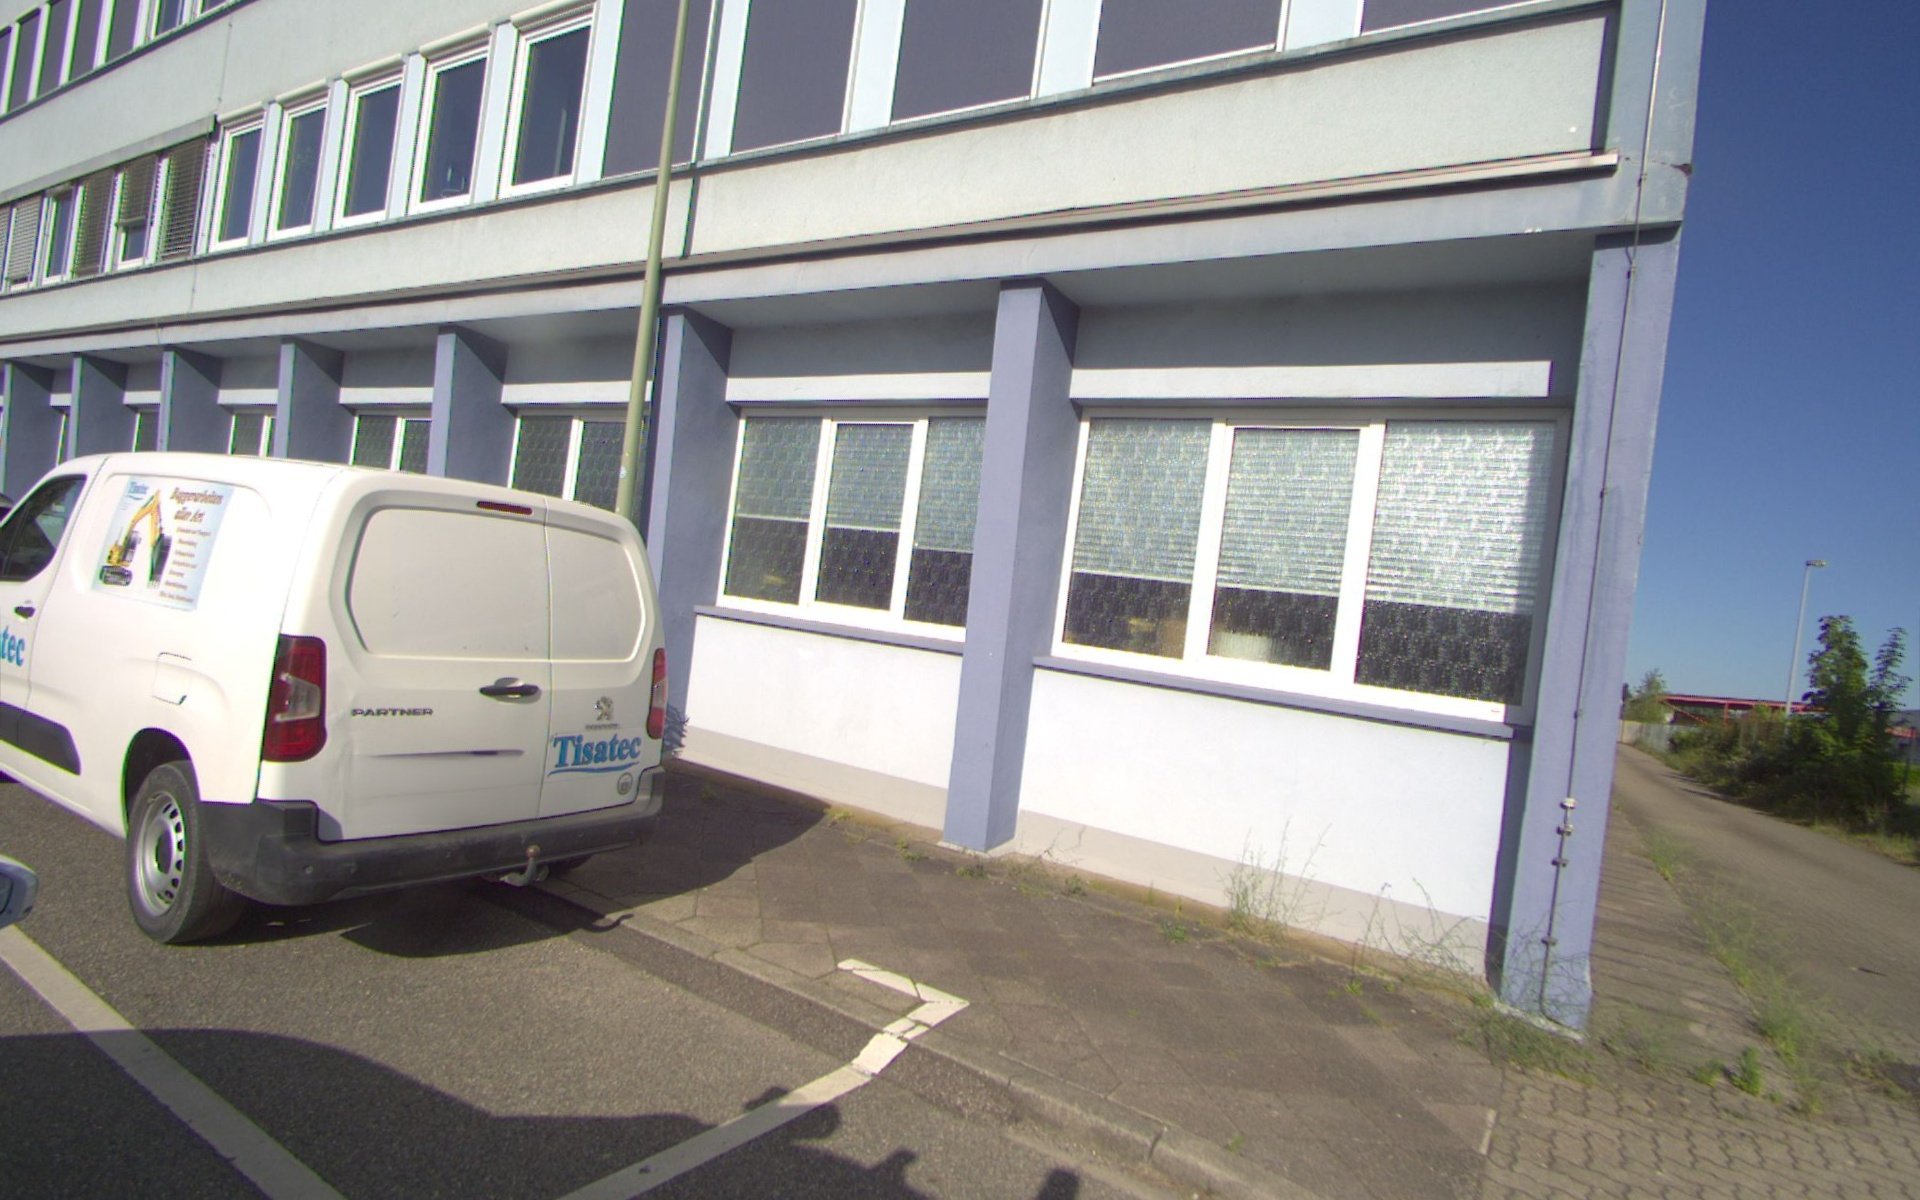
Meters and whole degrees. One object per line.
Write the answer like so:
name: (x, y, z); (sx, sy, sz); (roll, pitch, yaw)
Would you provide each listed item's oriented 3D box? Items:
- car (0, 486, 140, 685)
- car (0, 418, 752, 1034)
car: (-9.960, -0.386, 9.346); (5.005, 1.578, 1.894); (7, -2, 31)
car: (-3.655, 0.233, 5.167); (5.007, 1.853, 1.892); (7, -2, 33)
